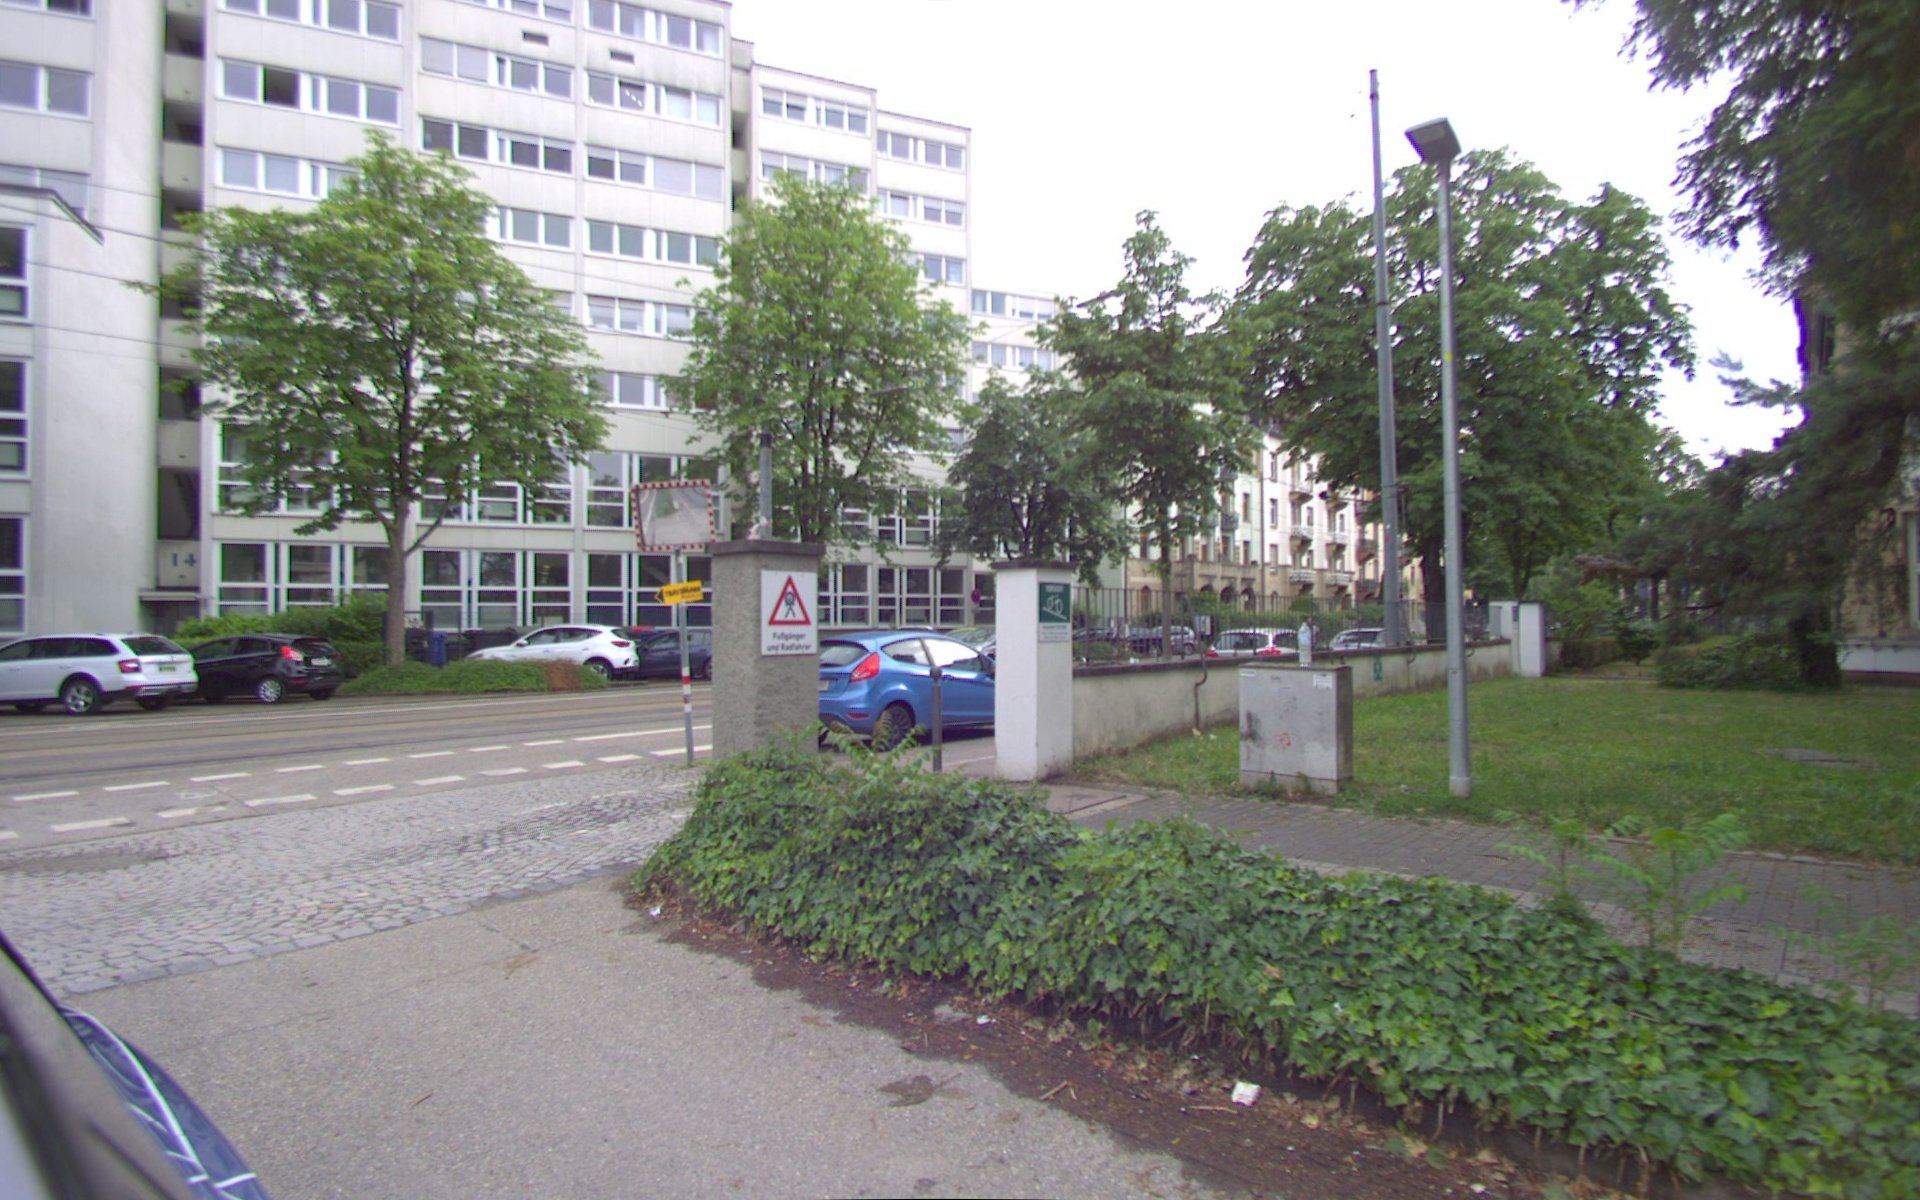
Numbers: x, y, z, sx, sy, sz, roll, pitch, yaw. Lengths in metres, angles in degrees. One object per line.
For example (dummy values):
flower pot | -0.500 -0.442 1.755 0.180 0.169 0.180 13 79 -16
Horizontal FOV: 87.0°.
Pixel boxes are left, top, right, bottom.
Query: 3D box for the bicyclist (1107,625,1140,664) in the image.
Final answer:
bicyclist | 6.494 1.766 40.139 0.846 1.512 1.013 -3 -2 42

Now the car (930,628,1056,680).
car | 1.051 1.594 30.657 1.745 1.440 3.946 -2 -2 41

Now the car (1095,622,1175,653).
car | 8.487 1.798 48.984 3.688 1.396 1.690 0 -1 17

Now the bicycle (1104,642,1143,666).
bicycle | 6.492 2.128 40.174 0.470 0.875 2.109 -2 -2 41

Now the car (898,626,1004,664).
car | -0.378 1.719 38.820 3.908 1.362 1.702 1 -1 -4

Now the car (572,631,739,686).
car | -8.557 1.640 28.760 4.281 1.465 1.702 1 -1 -4

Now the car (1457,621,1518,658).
car | 19.875 1.472 38.095 1.511 1.312 3.138 -2 -2 38

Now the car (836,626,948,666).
car | -2.452 1.641 36.311 3.908 1.362 1.702 1 -1 -4

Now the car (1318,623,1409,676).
car | 11.076 1.324 27.701 1.511 1.312 3.138 -2 -2 38

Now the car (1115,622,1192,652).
car | 9.838 1.869 51.443 3.688 1.396 1.690 0 -1 17

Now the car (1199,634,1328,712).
car | 6.779 1.543 22.403 1.479 1.492 3.517 0 -1 40

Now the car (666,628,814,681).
car | -6.735 1.678 31.359 4.281 1.547 1.702 1 -1 -4

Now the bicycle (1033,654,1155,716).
bicycle | 2.221 1.392 16.919 2.015 0.964 0.527 -2 -2 38

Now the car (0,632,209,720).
car | -16.700 1.386 19.032 3.976 1.495 1.698 0 -1 3

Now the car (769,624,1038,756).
car | -0.647 1.095 13.386 1.678 1.472 3.386 -4 -3 40

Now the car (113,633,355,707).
car | -15.200 1.436 21.307 3.976 1.416 1.698 0 -1 3

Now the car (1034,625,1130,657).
car | 5.347 1.787 44.572 3.908 1.362 1.702 1 -1 -4

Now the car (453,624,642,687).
car | -10.685 1.433 26.460 4.277 1.568 1.703 1 -1 -8
